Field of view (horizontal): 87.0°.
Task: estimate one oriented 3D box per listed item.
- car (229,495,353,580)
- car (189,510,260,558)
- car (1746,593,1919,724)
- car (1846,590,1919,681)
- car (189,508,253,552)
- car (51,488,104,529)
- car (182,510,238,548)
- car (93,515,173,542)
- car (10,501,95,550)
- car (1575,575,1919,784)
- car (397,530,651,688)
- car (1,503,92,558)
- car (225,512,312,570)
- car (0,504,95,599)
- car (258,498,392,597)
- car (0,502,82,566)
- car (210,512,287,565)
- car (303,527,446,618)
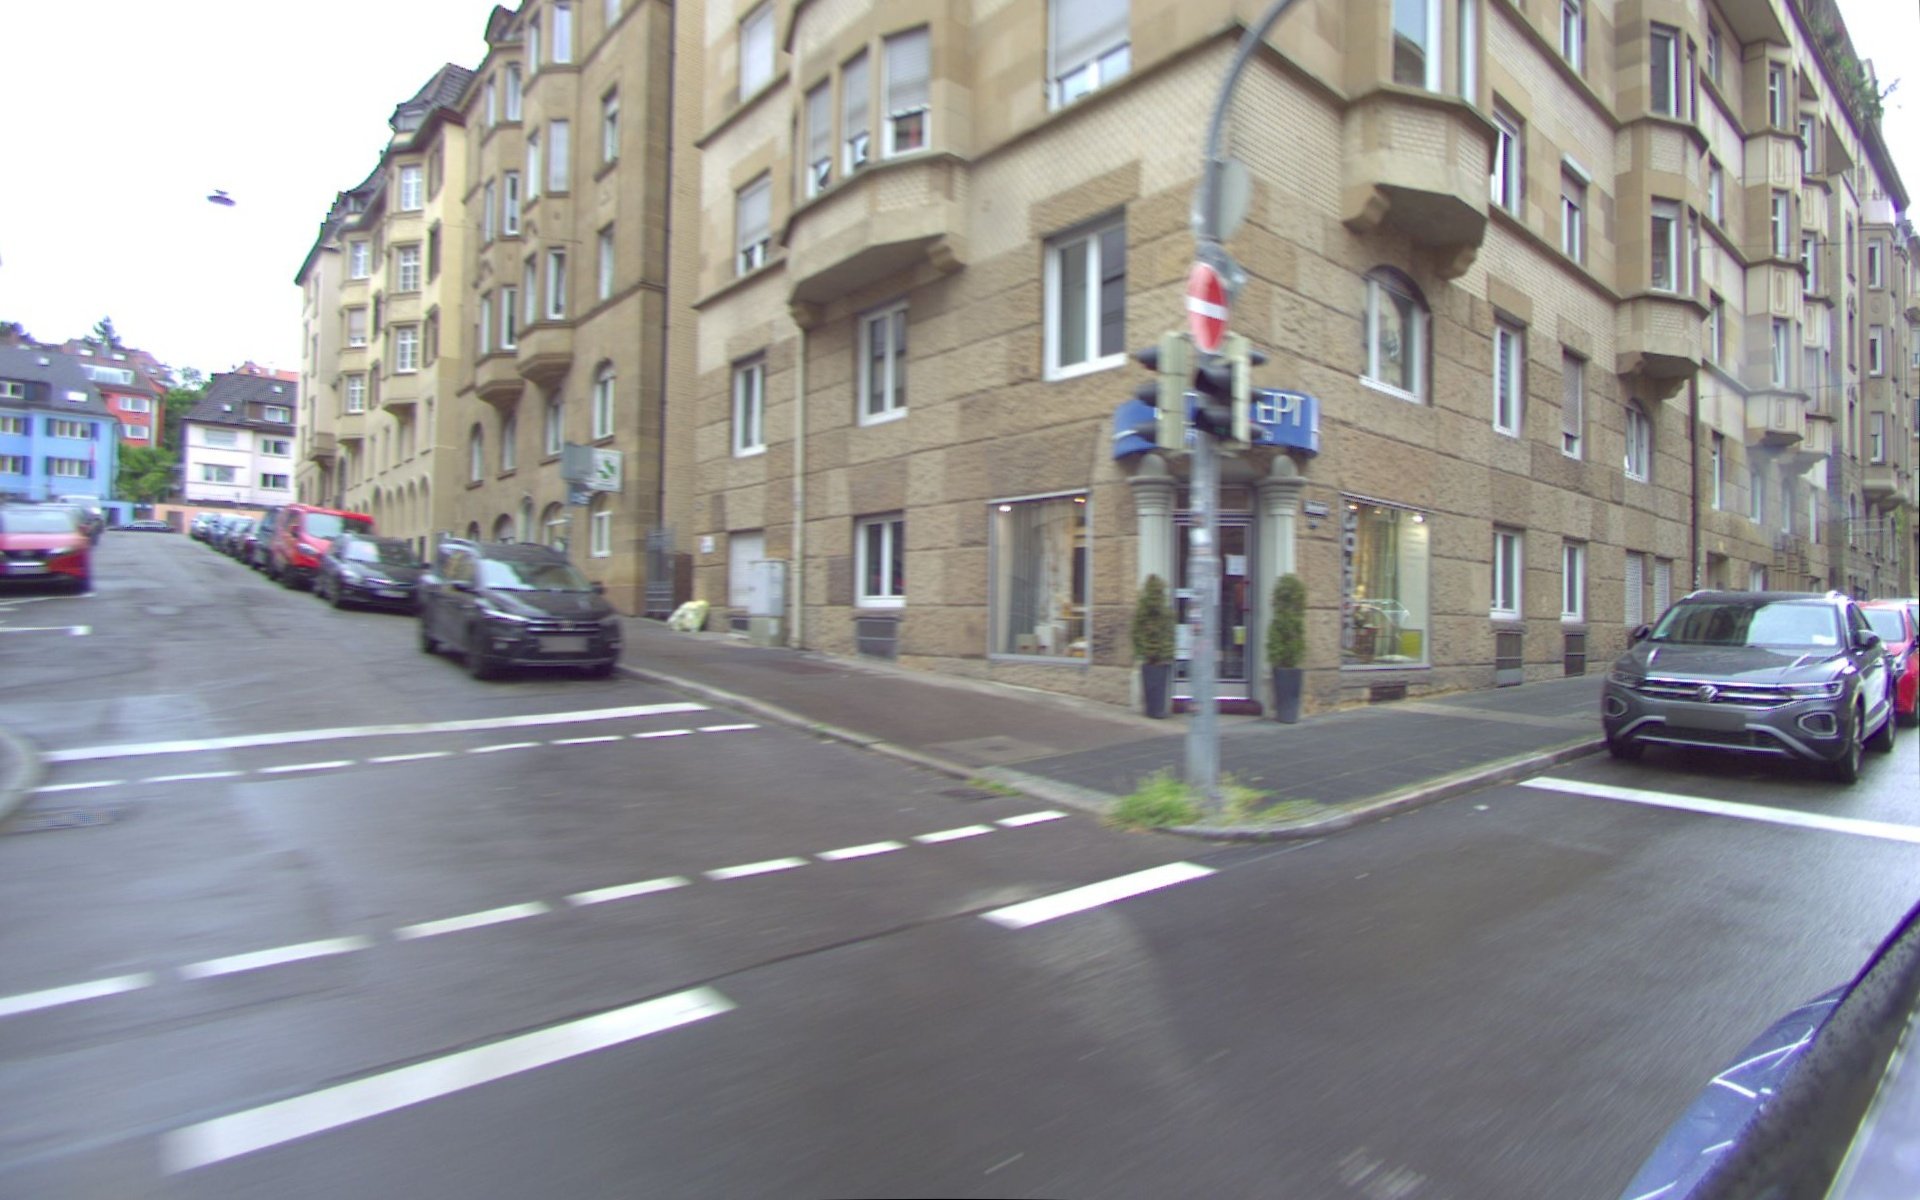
[{"bbox_3d":[-20.065,-1.903,30.260,2.361,2.067,5.090,8,-1,-40],"label":"car"},{"bbox_3d":[-31.019,-2.804,42.640,1.966,1.670,4.355,8,-1,-40],"label":"car"},{"bbox_3d":[11.633,0.655,13.150,3.473,1.471,1.707,-1,0,-43],"label":"car"},{"bbox_3d":[17.172,0.577,18.025,3.460,1.505,1.598,0,1,-40],"label":"car"},{"bbox_3d":[-33.771,-3.220,46.204,1.966,1.670,4.355,8,-1,-40],"label":"car"},{"bbox_3d":[-46.277,-4.798,53.089,1.945,2.020,4.367,-3,6,-41],"label":"car"},{"bbox_3d":[-39.771,-3.771,53.624,1.966,1.670,4.355,8,-1,-40],"label":"car"},{"bbox_3d":[-57.668,-4.982,70.608,4.282,1.669,1.999,0,4,-41],"label":"car"},{"bbox_3d":[-31.438,-2.606,35.176,2.002,1.587,4.469,-3,6,-40],"label":"car"},{"bbox_3d":[7.601,0.587,9.612,3.921,1.568,1.871,-1,0,-40],"label":"car"},{"bbox_3d":[-5.992,-0.002,13.589,1.842,1.672,4.521,2,3,-40],"label":"car"},{"bbox_3d":[-28.489,-2.211,31.649,1.945,1.587,4.367,-4,6,-41],"label":"car"},{"bbox_3d":[-24.375,-2.102,35.603,1.966,1.670,4.355,8,-1,-40],"label":"car"},{"bbox_3d":[-18.139,-1.021,19.632,1.945,1.586,4.367,-3,7,-41],"label":"car"},{"bbox_3d":[-16.251,-1.399,25.768,2.035,2.067,5.090,8,-1,-40],"label":"car"},{"bbox_3d":[-24.915,-1.827,27.166,1.945,1.587,4.367,-4,6,-41],"label":"car"},{"bbox_3d":[-27.733,-2.427,39.393,1.966,1.670,4.355,8,-1,-40],"label":"car"},{"bbox_3d":[-12.699,-0.649,21.798,1.825,1.481,4.686,8,-1,-39],"label":"car"}]
